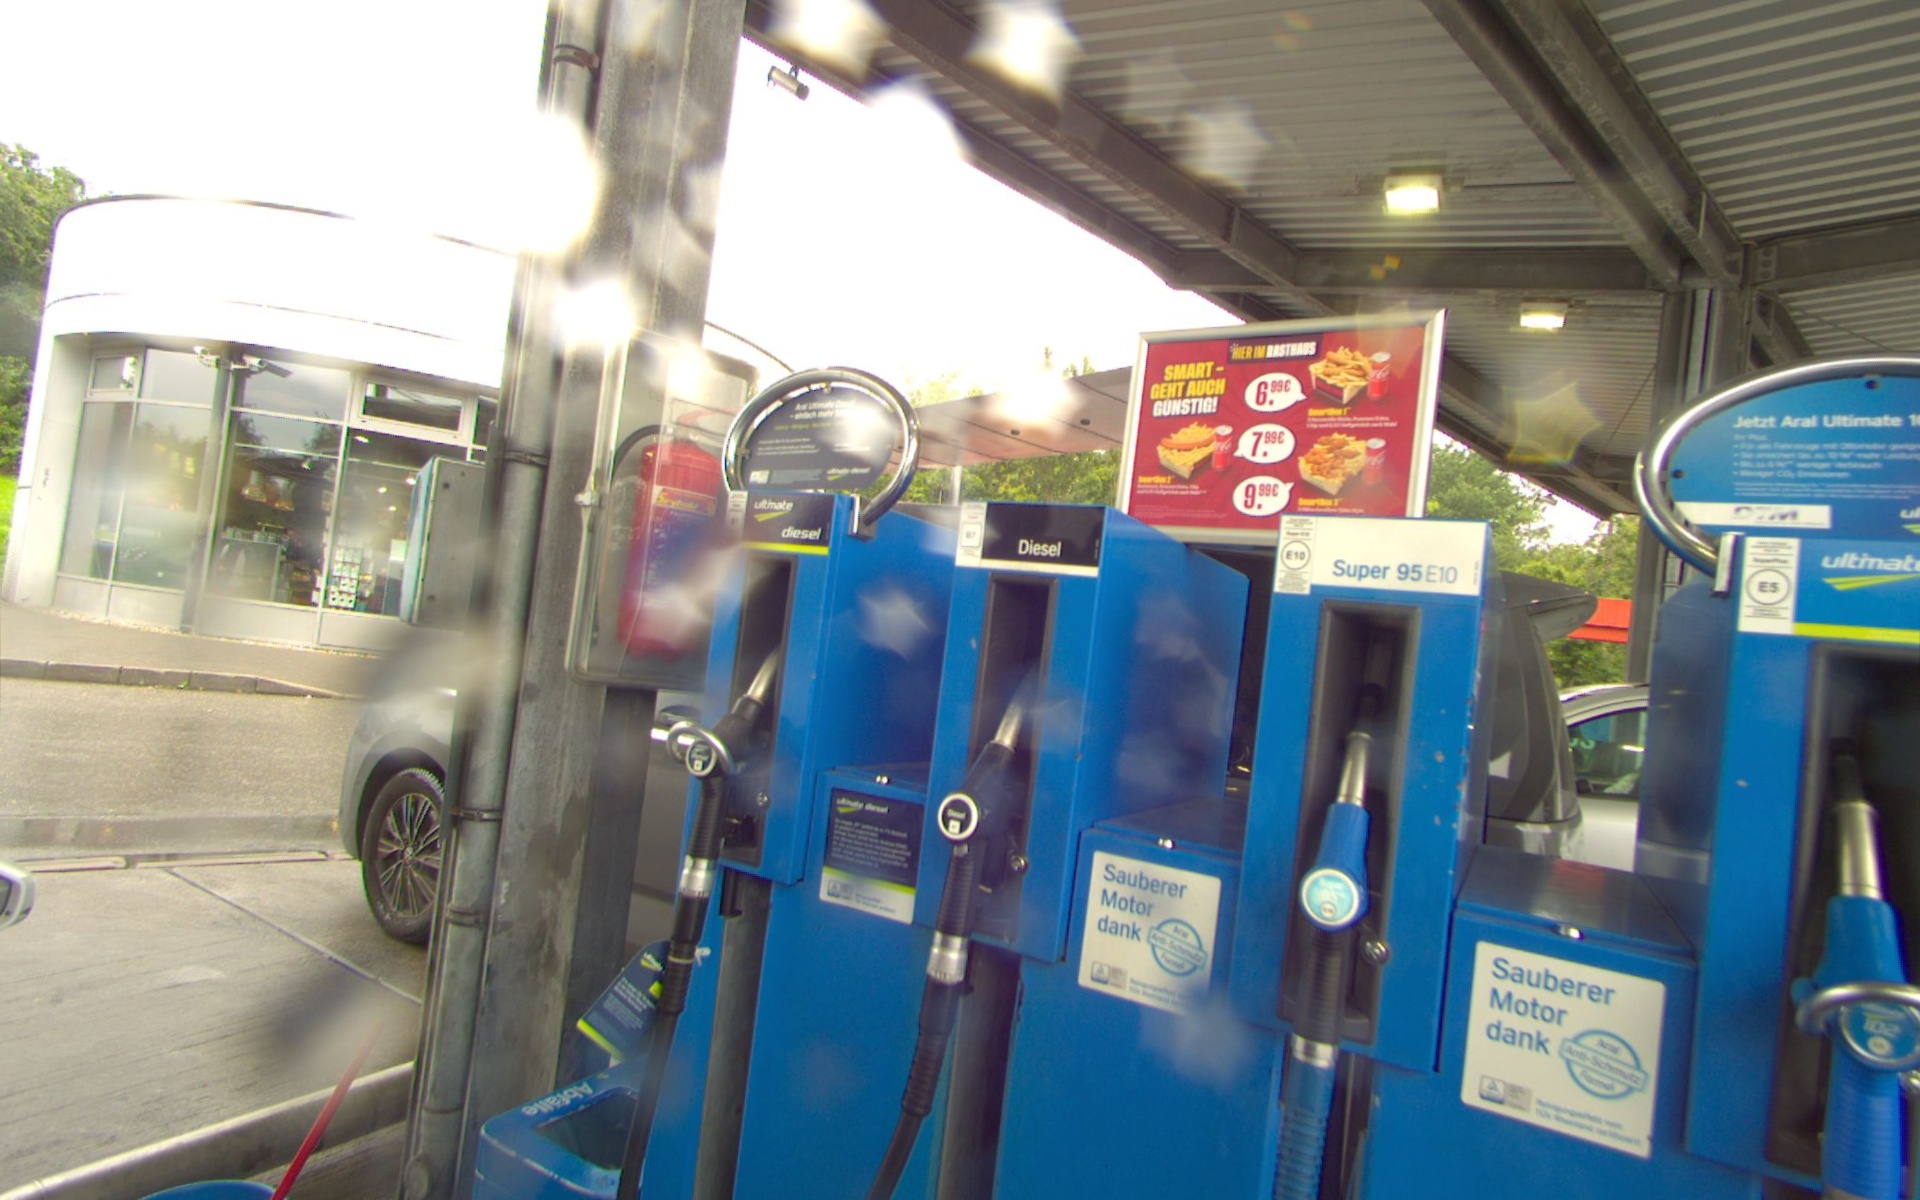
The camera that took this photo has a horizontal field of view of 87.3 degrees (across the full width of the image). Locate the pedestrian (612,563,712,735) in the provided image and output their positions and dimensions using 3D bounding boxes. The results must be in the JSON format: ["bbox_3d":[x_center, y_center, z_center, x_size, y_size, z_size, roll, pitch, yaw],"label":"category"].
[{"bbox_3d":[-3.296,0.525,11.095,0.786,1.755,0.835,7,0,-23],"label":"pedestrian"}]

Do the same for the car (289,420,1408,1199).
[{"bbox_3d":[-0.584,0.503,3.989,3.934,1.971,1.819,7,-1,32],"label":"car"}]
